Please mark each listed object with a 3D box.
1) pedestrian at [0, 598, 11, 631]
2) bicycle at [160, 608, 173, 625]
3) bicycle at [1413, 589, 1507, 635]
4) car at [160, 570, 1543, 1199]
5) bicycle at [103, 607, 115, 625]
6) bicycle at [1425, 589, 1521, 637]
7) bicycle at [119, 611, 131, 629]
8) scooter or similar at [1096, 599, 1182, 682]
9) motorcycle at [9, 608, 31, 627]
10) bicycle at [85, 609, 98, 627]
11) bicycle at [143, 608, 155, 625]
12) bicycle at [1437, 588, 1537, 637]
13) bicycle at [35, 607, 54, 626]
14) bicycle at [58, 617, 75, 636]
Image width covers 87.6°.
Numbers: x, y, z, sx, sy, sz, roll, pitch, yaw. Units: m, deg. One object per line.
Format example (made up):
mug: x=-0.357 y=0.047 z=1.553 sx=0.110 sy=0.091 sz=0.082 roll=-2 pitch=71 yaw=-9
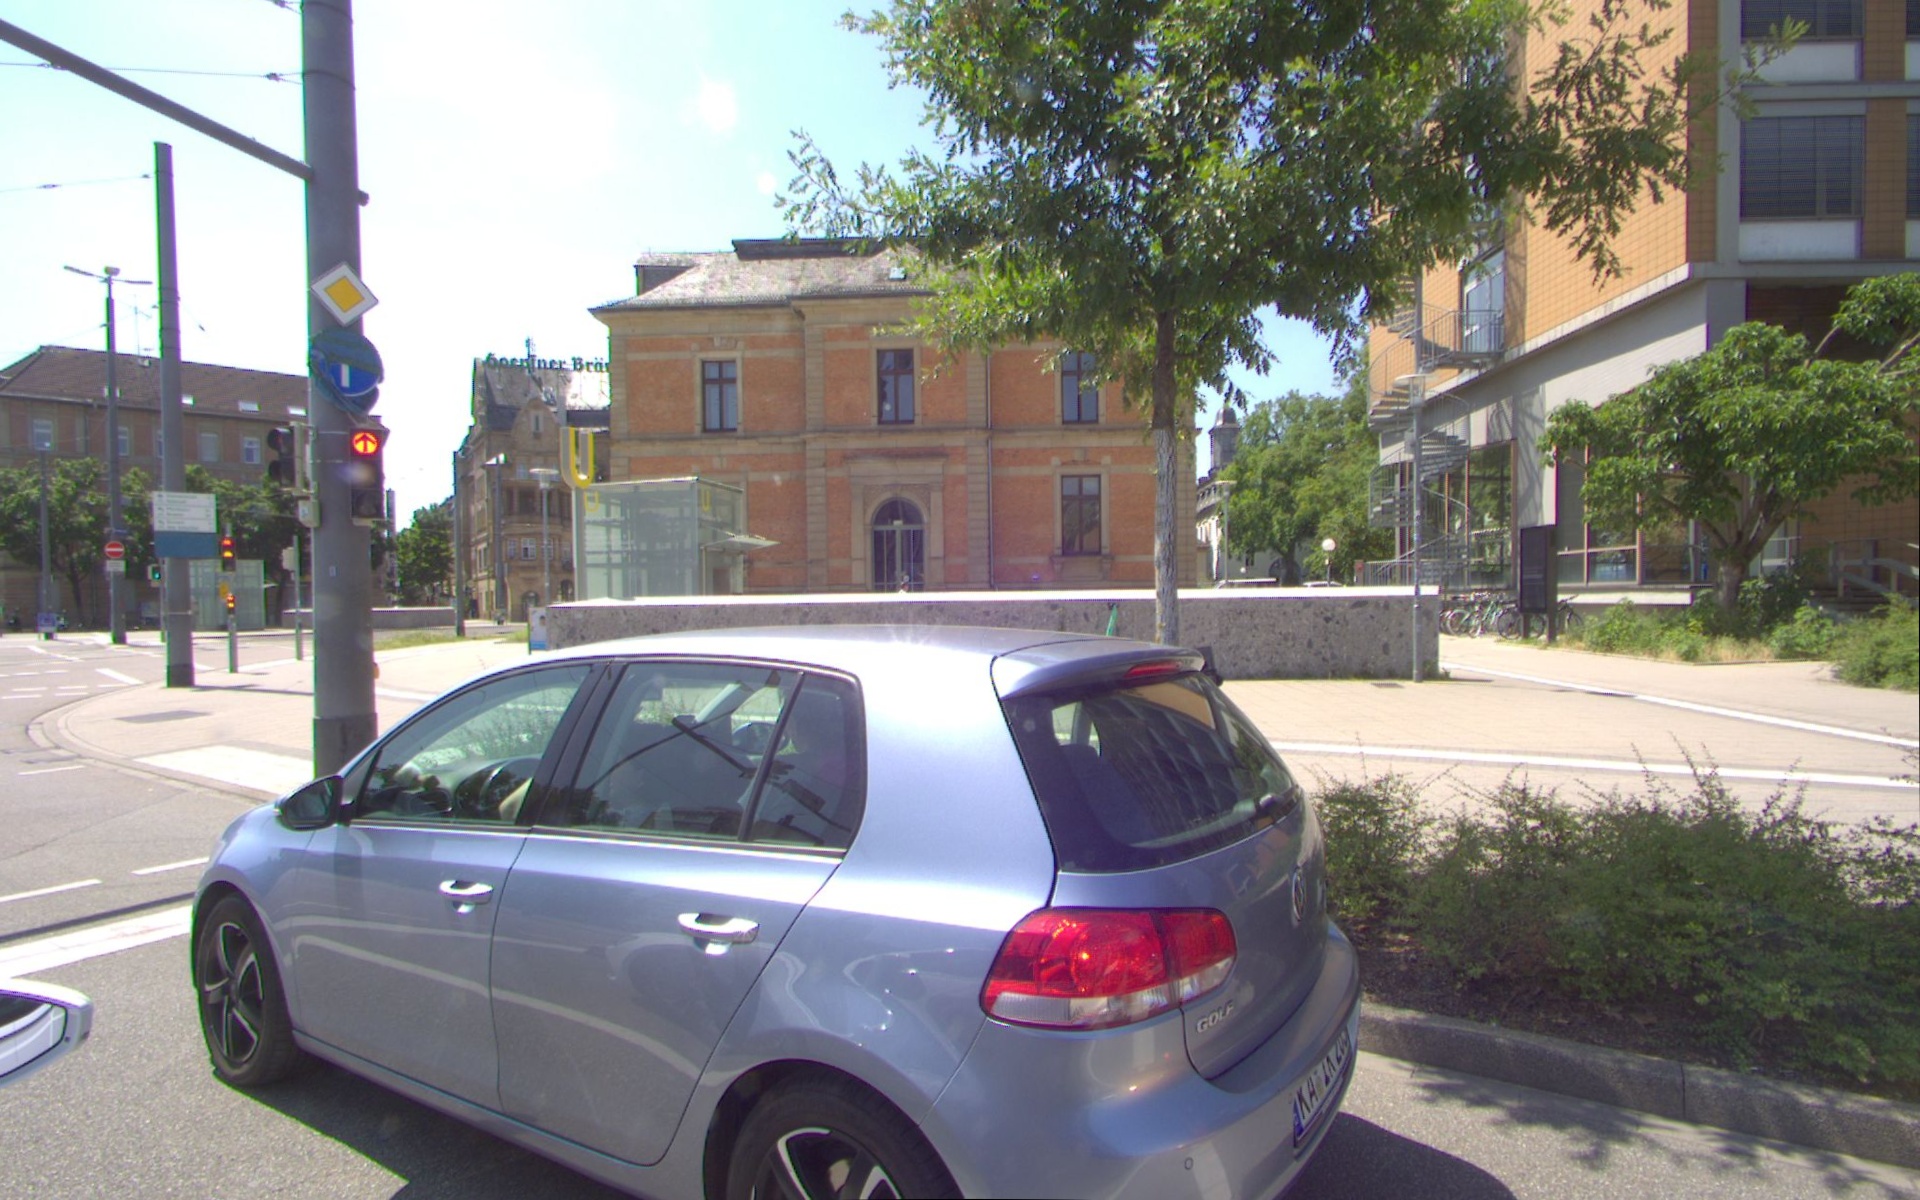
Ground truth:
pedestrian: x=-49.293 y=0.746 z=51.408 sx=0.627 sy=1.731 sz=0.462 roll=0 pitch=1 yaw=2
bicycle: x=-52.107 y=1.073 z=65.730 sx=0.547 sy=1.135 sz=1.912 roll=-1 pitch=1 yaw=-41
bicycle: x=13.601 y=0.334 z=27.275 sx=2.175 sy=1.234 sz=0.637 roll=0 pitch=-1 yaw=5
car: x=-0.562 y=0.737 z=2.987 sx=3.946 sy=1.478 sz=1.648 roll=0 pitch=-1 yaw=32
bicycle: x=-53.475 y=1.007 z=62.926 sx=0.547 sy=1.135 sz=1.804 roll=-1 pitch=1 yaw=-41
bicycle: x=13.574 y=0.359 z=26.539 sx=2.175 sy=1.234 sz=0.637 roll=0 pitch=-1 yaw=5
bicycle: x=-52.951 y=1.254 z=63.512 sx=0.547 sy=1.135 sz=1.872 roll=-1 pitch=1 yaw=-41
scooter or similar: x=2.647 y=0.591 z=14.758 sx=1.227 sy=1.186 sz=0.458 roll=0 pitch=1 yaw=13
motorcycle: x=-56.125 y=1.029 z=59.791 sx=1.920 sy=1.089 sz=0.578 roll=0 pitch=1 yaw=36
bicycle: x=-54.086 y=1.111 z=62.379 sx=0.547 sy=1.135 sz=1.803 roll=-1 pitch=1 yaw=-43
bicycle: x=-52.545 y=1.061 z=64.861 sx=0.547 sy=1.135 sz=1.854 roll=-1 pitch=1 yaw=-41
bicycle: x=13.479 y=0.332 z=25.666 sx=2.175 sy=1.234 sz=0.637 roll=0 pitch=-1 yaw=5
bicycle: x=-55.410 y=1.000 z=60.612 sx=1.797 sy=1.135 sz=0.549 roll=0 pitch=1 yaw=37
bicycle: x=-55.116 y=1.644 z=61.759 sx=2.069 sy=1.160 sz=0.440 roll=-2 pitch=-2 yaw=39
